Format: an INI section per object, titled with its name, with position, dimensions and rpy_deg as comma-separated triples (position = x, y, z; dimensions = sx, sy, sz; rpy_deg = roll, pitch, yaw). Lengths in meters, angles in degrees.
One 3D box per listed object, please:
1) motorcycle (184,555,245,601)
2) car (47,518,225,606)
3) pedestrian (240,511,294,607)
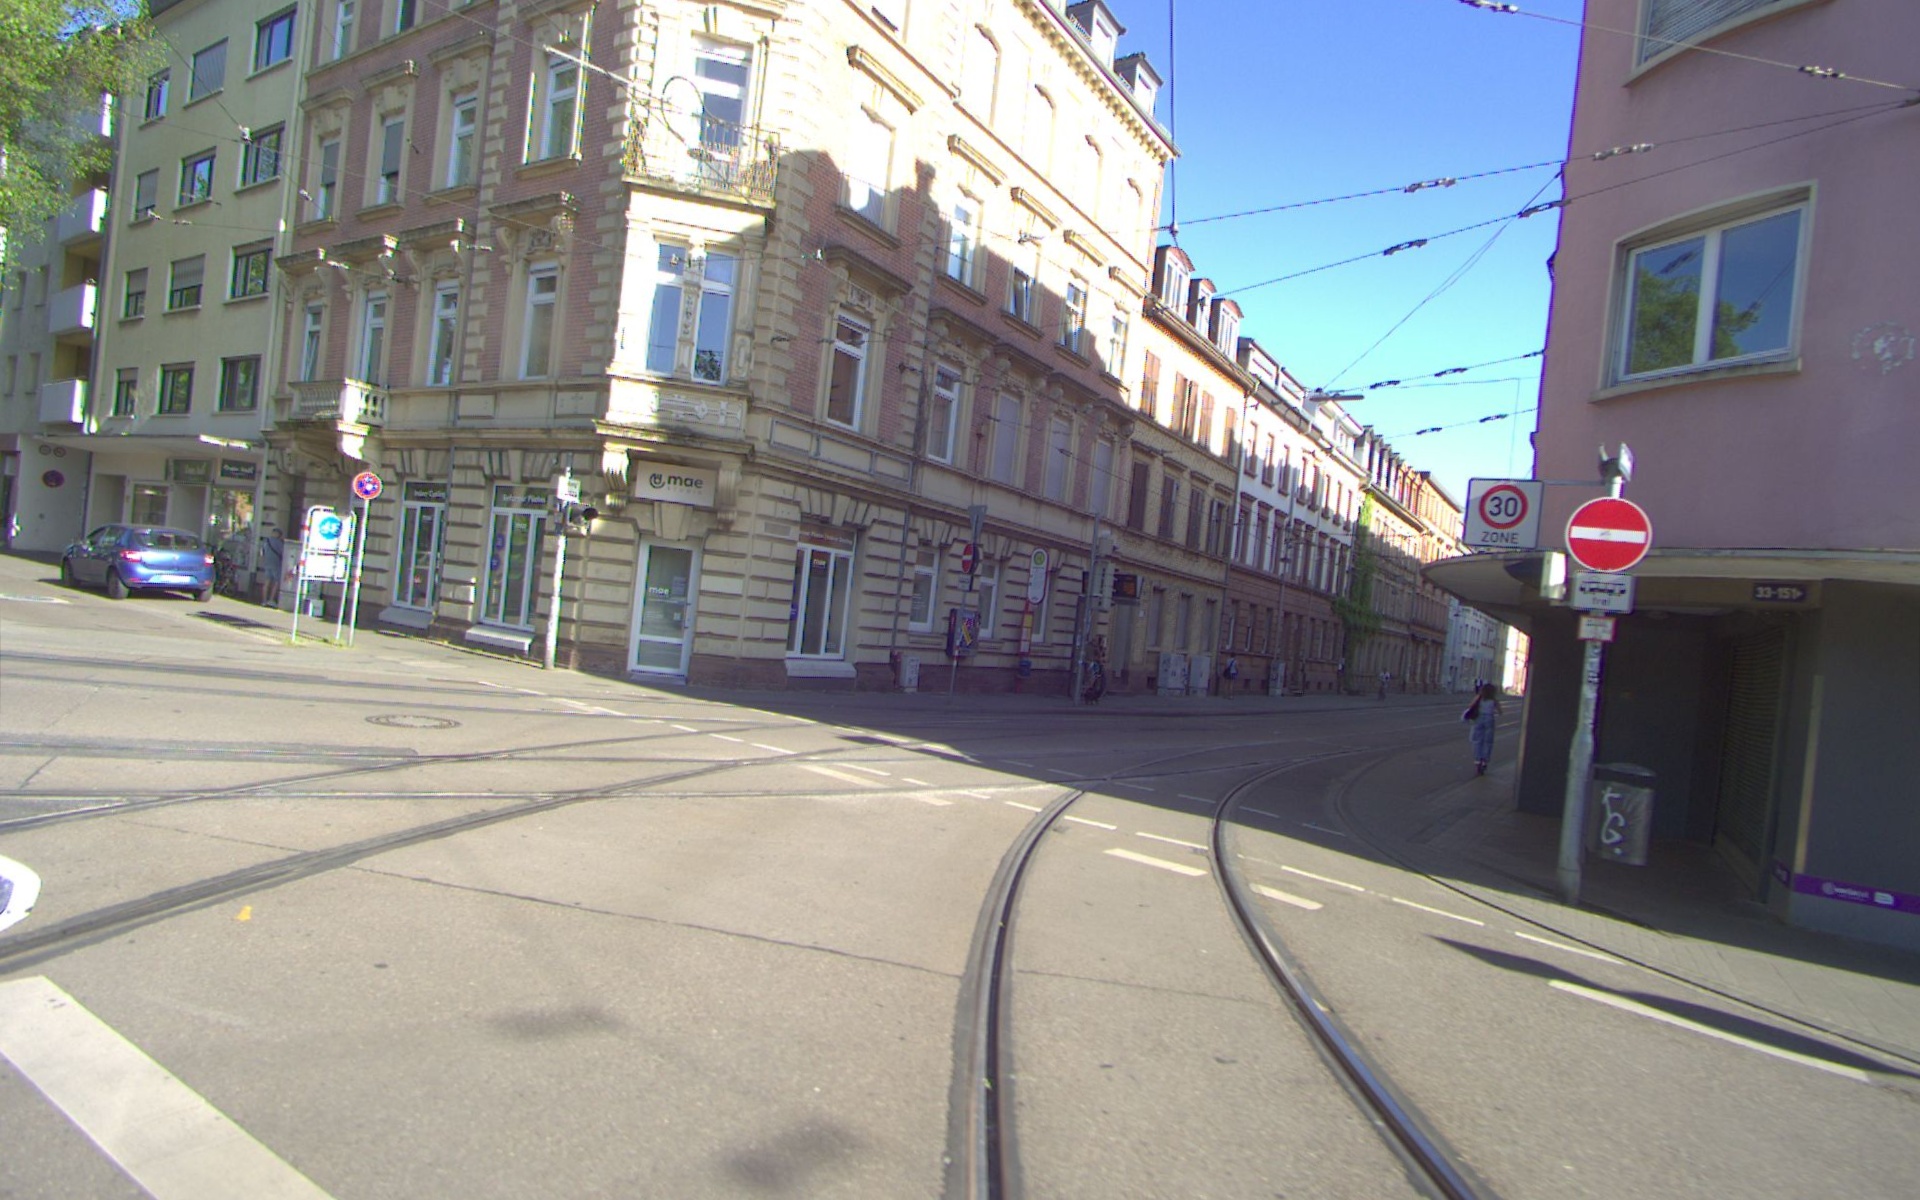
[motorcycle]
position = -17.325, -0.511, 23.367
dimensions = 1.842, 0.907, 0.486
rpy_deg = 6, 2, 33
[car]
position = -17.920, -0.836, 21.841
dimensions = 3.933, 1.500, 1.694
rpy_deg = 6, 2, 30
[pedestrian]
position = -15.554, -0.920, 22.568
dimensions = 0.839, 2.036, 0.512
rpy_deg = 6, -2, 36
